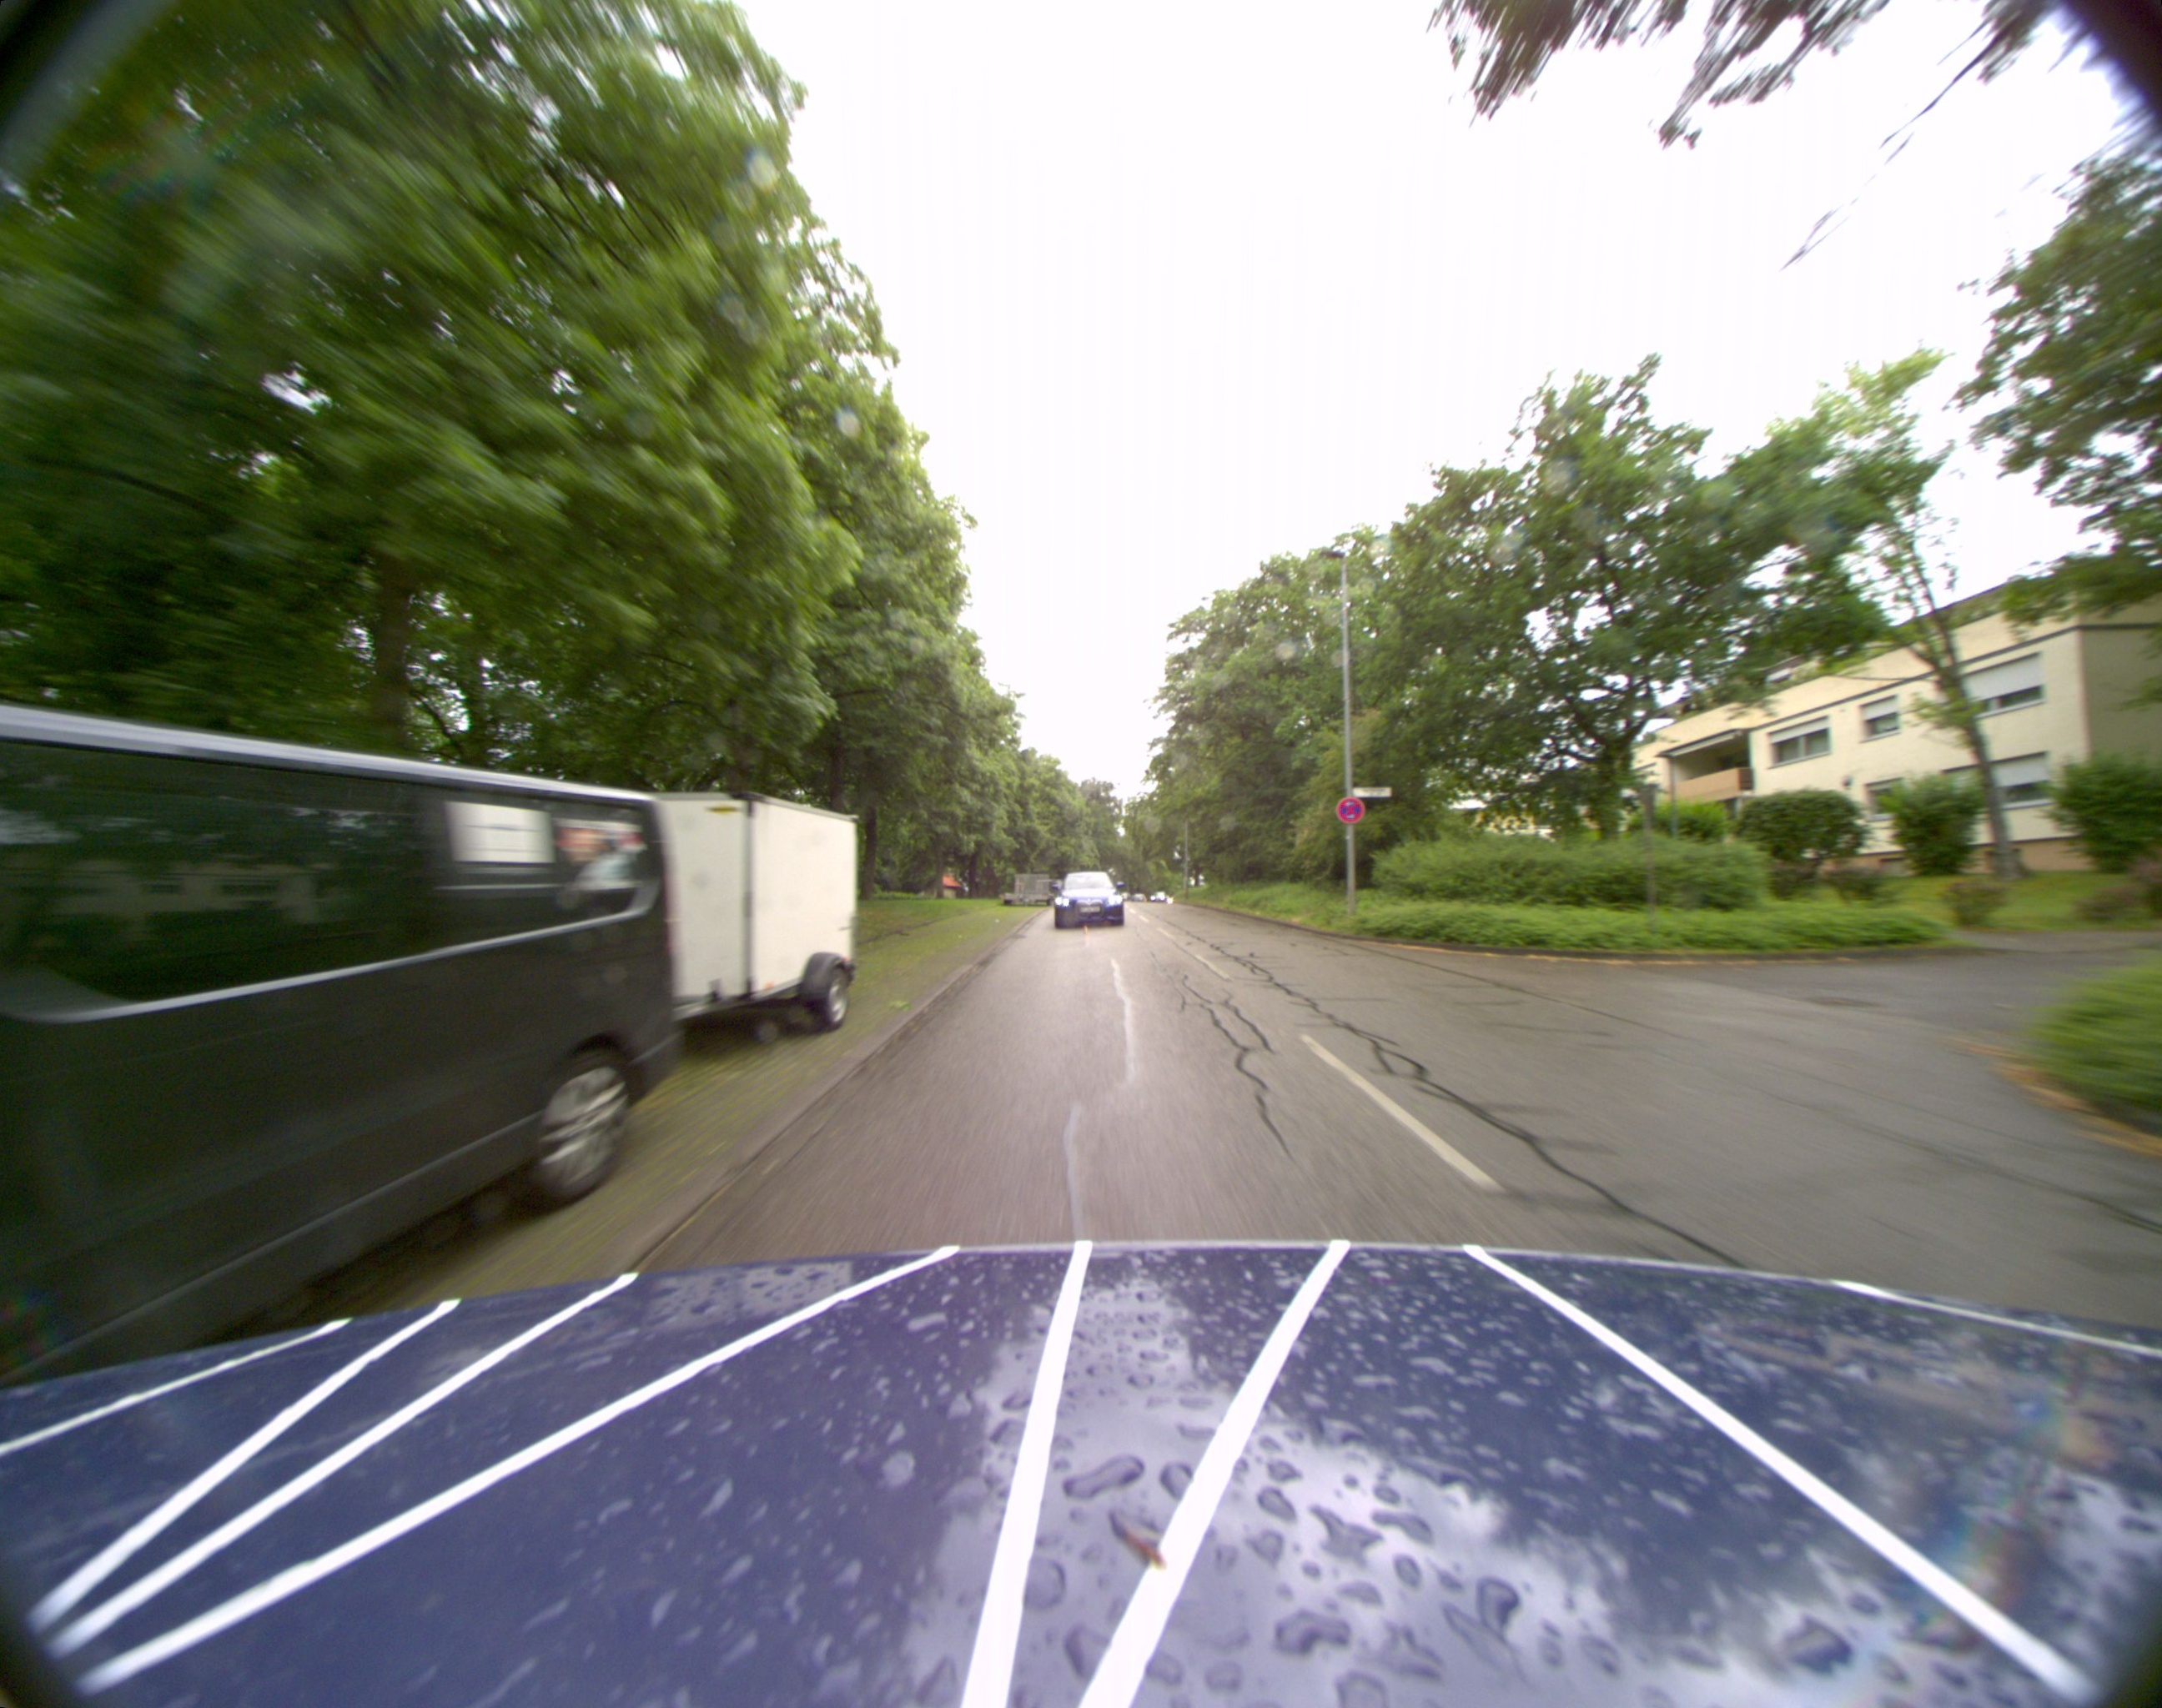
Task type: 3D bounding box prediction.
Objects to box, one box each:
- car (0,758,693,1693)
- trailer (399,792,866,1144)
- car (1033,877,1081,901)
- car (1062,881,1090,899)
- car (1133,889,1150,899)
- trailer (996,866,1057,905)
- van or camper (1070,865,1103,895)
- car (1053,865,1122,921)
[{"bbox_3d":[-3.203,0.765,1.523,1.998,1.898,5.509,-1,0,0],"label":"car"},{"bbox_3d":[-3.215,0.691,6.480,1.533,2.063,4.000,0,-1,1],"label":"trailer"},{"bbox_3d":[-1.842,2.567,56.366,1.615,1.670,3.997,2,-3,-35],"label":"car"},{"bbox_3d":[-0.429,3.191,67.428,1.808,1.529,4.273,0,-3,9],"label":"car"},{"bbox_3d":[8.881,5.845,111.587,1.703,1.452,4.224,0,-4,14],"label":"car"},{"bbox_3d":[-2.617,1.550,38.255,2.455,1.801,5.894,0,-2,2],"label":"trailer"},{"bbox_3d":[0.675,2.713,75.562,2.020,2.565,8.447,-3,-5,8],"label":"van or camper"},{"bbox_3d":[0.142,1.225,22.582,1.839,1.500,4.003,-1,-5,-1],"label":"car"}]
